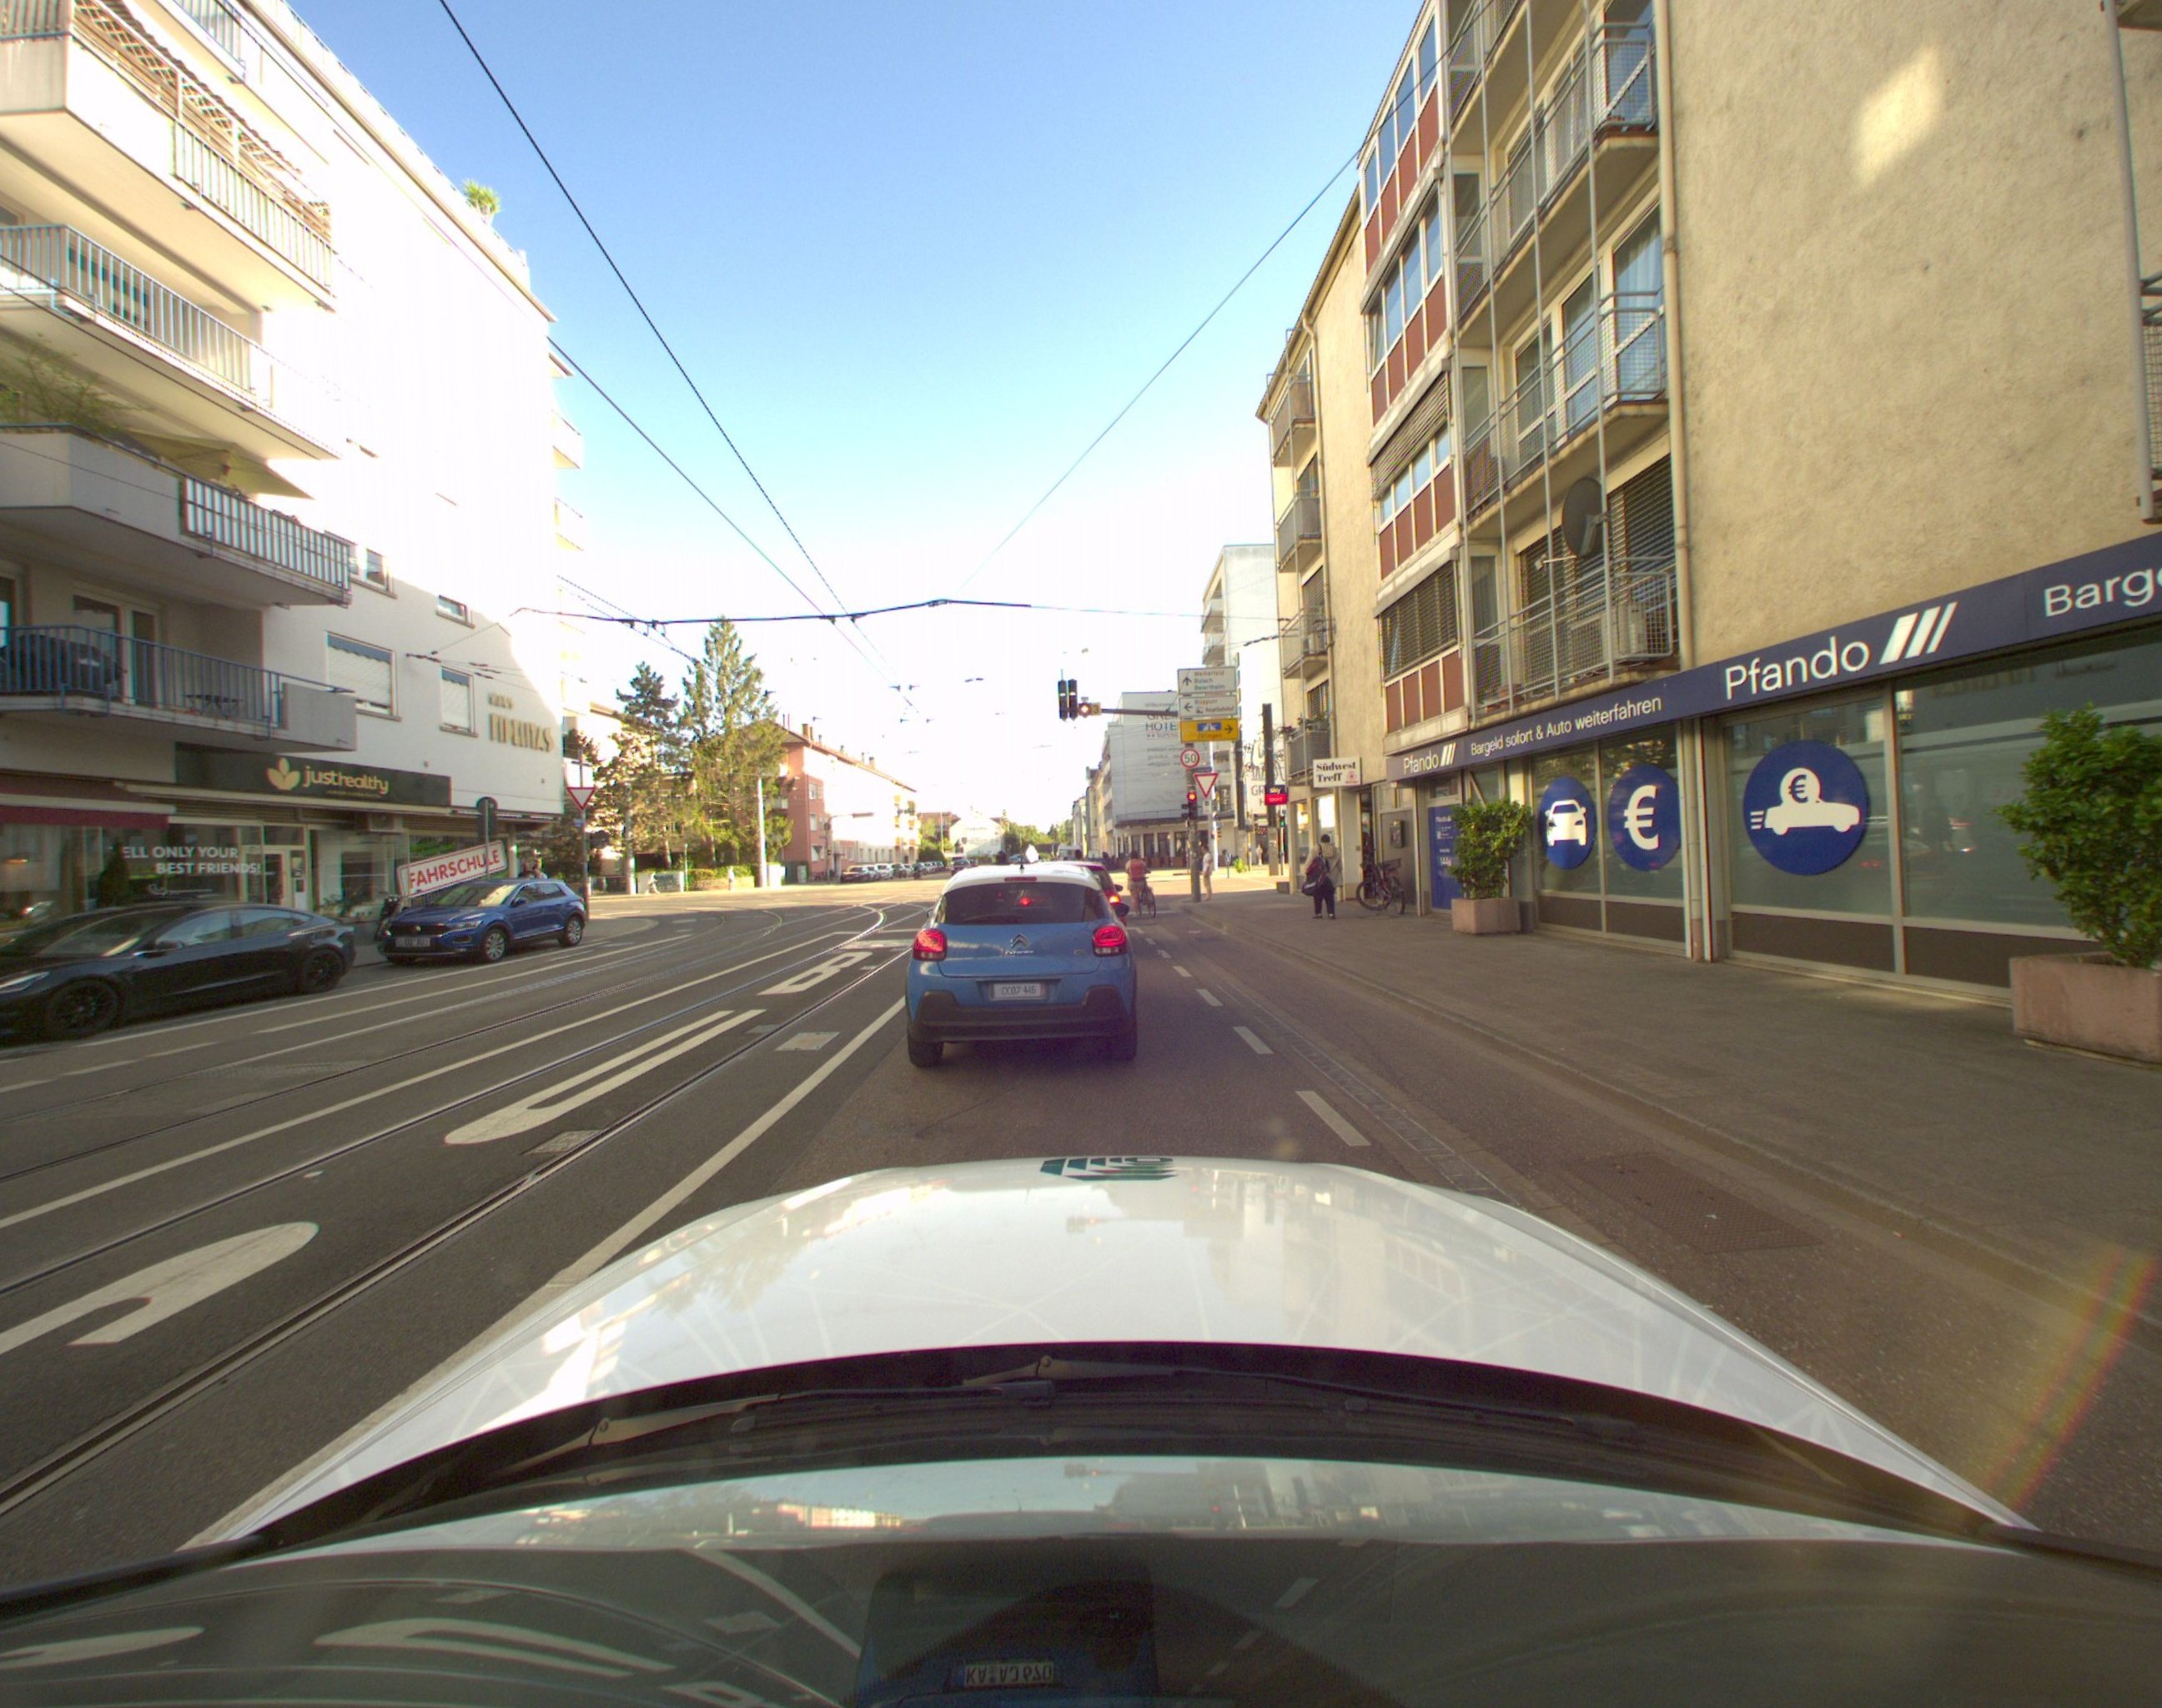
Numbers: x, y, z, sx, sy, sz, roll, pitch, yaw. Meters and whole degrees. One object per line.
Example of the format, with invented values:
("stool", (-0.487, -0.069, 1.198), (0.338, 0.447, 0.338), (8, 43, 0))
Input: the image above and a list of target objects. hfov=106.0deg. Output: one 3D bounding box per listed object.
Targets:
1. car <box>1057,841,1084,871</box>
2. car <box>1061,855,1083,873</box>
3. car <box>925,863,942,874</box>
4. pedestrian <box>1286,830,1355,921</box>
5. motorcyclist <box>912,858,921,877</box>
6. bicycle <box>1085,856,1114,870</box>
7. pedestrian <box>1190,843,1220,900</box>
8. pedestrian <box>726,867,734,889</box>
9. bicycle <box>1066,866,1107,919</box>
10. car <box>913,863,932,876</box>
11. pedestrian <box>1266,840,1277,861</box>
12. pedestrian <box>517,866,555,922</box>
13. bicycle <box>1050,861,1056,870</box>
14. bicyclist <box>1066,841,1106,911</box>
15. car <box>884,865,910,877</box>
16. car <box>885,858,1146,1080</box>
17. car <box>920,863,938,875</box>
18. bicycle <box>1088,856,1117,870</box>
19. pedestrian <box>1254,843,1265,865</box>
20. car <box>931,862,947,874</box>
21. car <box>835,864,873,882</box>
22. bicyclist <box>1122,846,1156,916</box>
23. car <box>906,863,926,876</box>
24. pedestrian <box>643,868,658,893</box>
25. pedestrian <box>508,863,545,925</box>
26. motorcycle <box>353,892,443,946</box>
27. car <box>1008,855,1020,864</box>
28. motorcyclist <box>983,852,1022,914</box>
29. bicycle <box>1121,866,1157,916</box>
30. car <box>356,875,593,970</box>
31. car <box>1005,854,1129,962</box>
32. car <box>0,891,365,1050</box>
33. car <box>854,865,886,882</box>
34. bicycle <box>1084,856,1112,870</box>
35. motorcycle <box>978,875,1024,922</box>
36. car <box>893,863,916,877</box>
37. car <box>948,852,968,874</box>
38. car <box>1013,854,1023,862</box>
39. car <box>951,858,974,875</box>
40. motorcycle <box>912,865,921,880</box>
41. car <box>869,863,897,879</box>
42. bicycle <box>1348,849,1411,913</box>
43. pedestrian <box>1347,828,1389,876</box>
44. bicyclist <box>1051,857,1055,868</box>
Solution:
("car", (-0.971, 0.188, 73.033), (2.260, 2.482, 5.002), (-1, 0, -3))
("car", (-0.793, 0.803, 68.042), (1.654, 1.431, 3.882), (0, -1, -4))
("car", (-20.562, 1.992, 113.389), (1.865, 1.576, 3.995), (0, -1, -3))
("pedestrian", (4.491, 0.384, 15.311), (0.883, 1.592, 0.809), (-5, 1, -7))
("motorcyclist", (-13.654, 1.125, 67.638), (0.694, 1.497, 0.681), (-2, -2, -12))
("bicycle", (1.533, 0.741, 67.312), (2.246, 1.001, 0.855), (-4, 0, -4))
("pedestrian", (3.688, 0.512, 24.208), (0.534, 1.623, 0.737), (-7, -3, 23))
("pedestrian", (-24.756, 1.672, 57.397), (0.519, 1.568, 0.568), (0, -1, -26))
("bicycle", (0.143, 0.924, 20.140), (0.937, 1.223, 2.094), (0, -1, 1))
("car", (-20.079, 1.907, 103.297), (1.865, 1.576, 3.995), (0, -1, -3))
("pedestrian", (14.856, -0.251, 63.506), (0.604, 1.608, 0.673), (-1, -1, 42))
("pedestrian", (-18.059, 1.323, 26.998), (0.732, 1.792, 0.663), (-2, 0, 5))
("bicycle", (-5.018, 2.029, 146.016), (0.787, 1.670, 2.231), (0, -1, 3))
("bicyclist", (0.129, 0.526, 20.075), (0.937, 1.673, 1.079), (0, -1, 0))
("car", (-19.631, 1.764, 86.815), (1.942, 1.239, 4.279), (0, 0, -2))
("car", (-0.358, 0.786, 7.314), (1.729, 1.452, 3.665), (-1, 0, 3))
("car", (-20.213, 1.948, 108.282), (1.865, 1.576, 3.995), (0, -1, -3))
("bicycle", (1.762, 0.738, 65.938), (2.246, 1.001, 0.855), (-4, 0, -4))
("pedestrian", (13.449, -0.013, 61.383), (0.604, 1.608, 0.673), (-1, -1, 29))
("car", (-20.779, 2.044, 119.619), (1.865, 1.576, 3.995), (0, -1, -3))
("car", (-19.375, 1.625, 69.688), (2.149, 1.432, 4.435), (0, -2, -3))
("bicyclist", (1.468, 0.666, 20.407), (0.807, 1.692, 0.937), (0, -1, 6))
("car", (-20.010, 1.871, 98.799), (1.865, 1.576, 3.995), (0, -1, -3))
("pedestrian", (-29.702, 1.832, 56.193), (0.785, 1.722, 0.699), (0, -1, -22))
("pedestrian", (-17.241, 1.234, 25.319), (0.568, 1.900, 0.742), (-2, -3, 16))
("motorcycle", (-15.886, 1.484, 18.999), (0.605, 1.134, 1.795), (0, -1, -2))
("car", (-14.016, 1.204, 170.557), (2.212, 1.932, 4.946), (0, -1, -1))
("motorcyclist", (-1.915, 0.695, 19.971), (0.852, 1.488, 0.729), (0, -1, 1))
("bicycle", (1.492, 0.916, 20.602), (0.807, 1.181, 2.068), (0, -1, 6))
("car", (-11.855, 1.241, 16.352), (1.765, 1.503, 4.233), (0, 1, -4))
("car", (-0.283, 0.770, 13.588), (1.780, 1.521, 3.758), (0, 0, -3))
("car", (-12.004, 1.301, 10.433), (1.764, 1.475, 4.443), (0, 0, -1))
("car", (-19.452, 1.766, 75.169), (1.897, 1.436, 4.102), (0, 0, 0))
("bicycle", (1.385, 0.759, 68.428), (2.246, 1.001, 0.855), (-4, 0, -4))
("motorcycle", (-1.918, 1.051, 19.692), (0.852, 1.047, 1.943), (0, -1, 2))
("car", (-20.065, 1.822, 92.736), (1.865, 1.576, 3.995), (0, -1, -3))
("car", (-18.059, 1.262, 119.675), (2.411, 3.142, 3.487), (0, -1, -1))
("car", (-14.515, 0.911, 188.455), (2.068, 1.762, 5.034), (0, 0, -1))
("car", (-11.153, 1.156, 76.865), (1.775, 1.486, 3.824), (-3, 0, -3))
("motorcycle", (-13.610, 1.546, 67.469), (0.712, 1.220, 1.957), (-2, -2, -12))
("car", (-19.416, 1.650, 79.963), (1.737, 1.526, 4.227), (0, -1, -1))
("bicycle", (5.741, 0.505, 15.759), (0.495, 1.161, 1.776), (-2, -1, -1))
("pedestrian", (6.780, -0.036, 19.249), (0.627, 1.087, 0.672), (-3, 1, -35))
("bicyclist", (-5.022, 1.532, 146.025), (0.787, 2.024, 0.987), (0, -1, 3))
